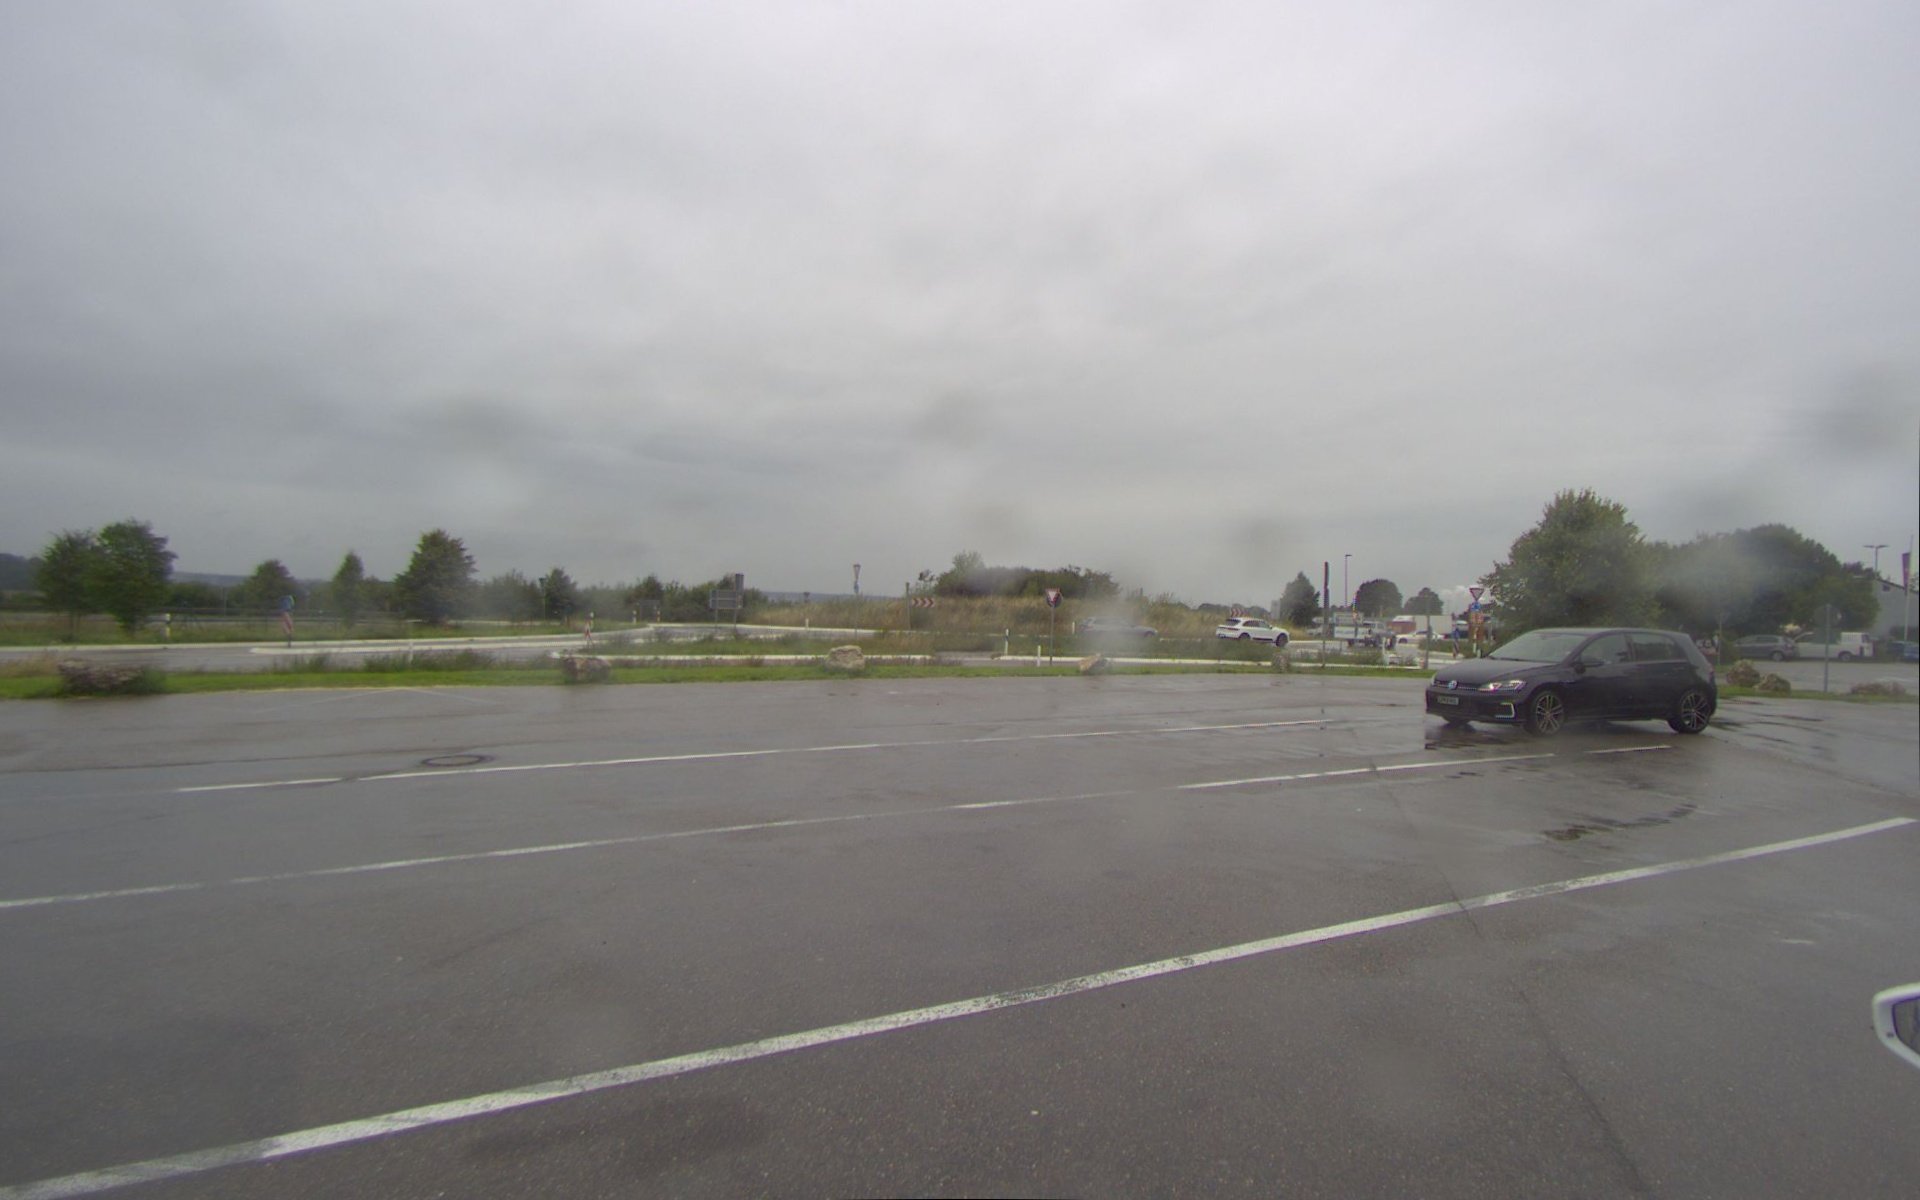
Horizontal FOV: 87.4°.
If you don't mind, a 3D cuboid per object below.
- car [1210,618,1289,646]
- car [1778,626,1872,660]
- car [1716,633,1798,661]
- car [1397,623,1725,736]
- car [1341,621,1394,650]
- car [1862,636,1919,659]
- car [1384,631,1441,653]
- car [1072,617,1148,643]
[{"bbox_3d":[17.063,1.886,59.183,4.320,1.605,1.686,1,-1,-21],"label":"car"},{"bbox_3d":[57.595,2.834,66.943,1.627,2.060,4.495,1,-1,-32],"label":"car"},{"bbox_3d":[49.133,2.876,61.982,1.435,1.571,3.711,1,-1,-32],"label":"car"},{"bbox_3d":[8.608,1.091,14.476,4.010,1.452,1.774,1,-1,-15],"label":"car"},{"bbox_3d":[28.140,2.444,69.278,1.971,1.898,4.622,0,-1,41],"label":"car"},{"bbox_3d":[64.889,3.285,69.860,1.524,1.477,3.683,1,-1,11],"label":"car"},{"bbox_3d":[39.656,3.638,88.077,4.281,1.782,1.749,2,-1,-2],"label":"car"},{"bbox_3d":[8.454,1.687,56.786,3.970,1.343,1.691,1,-1,-9],"label":"car"}]
